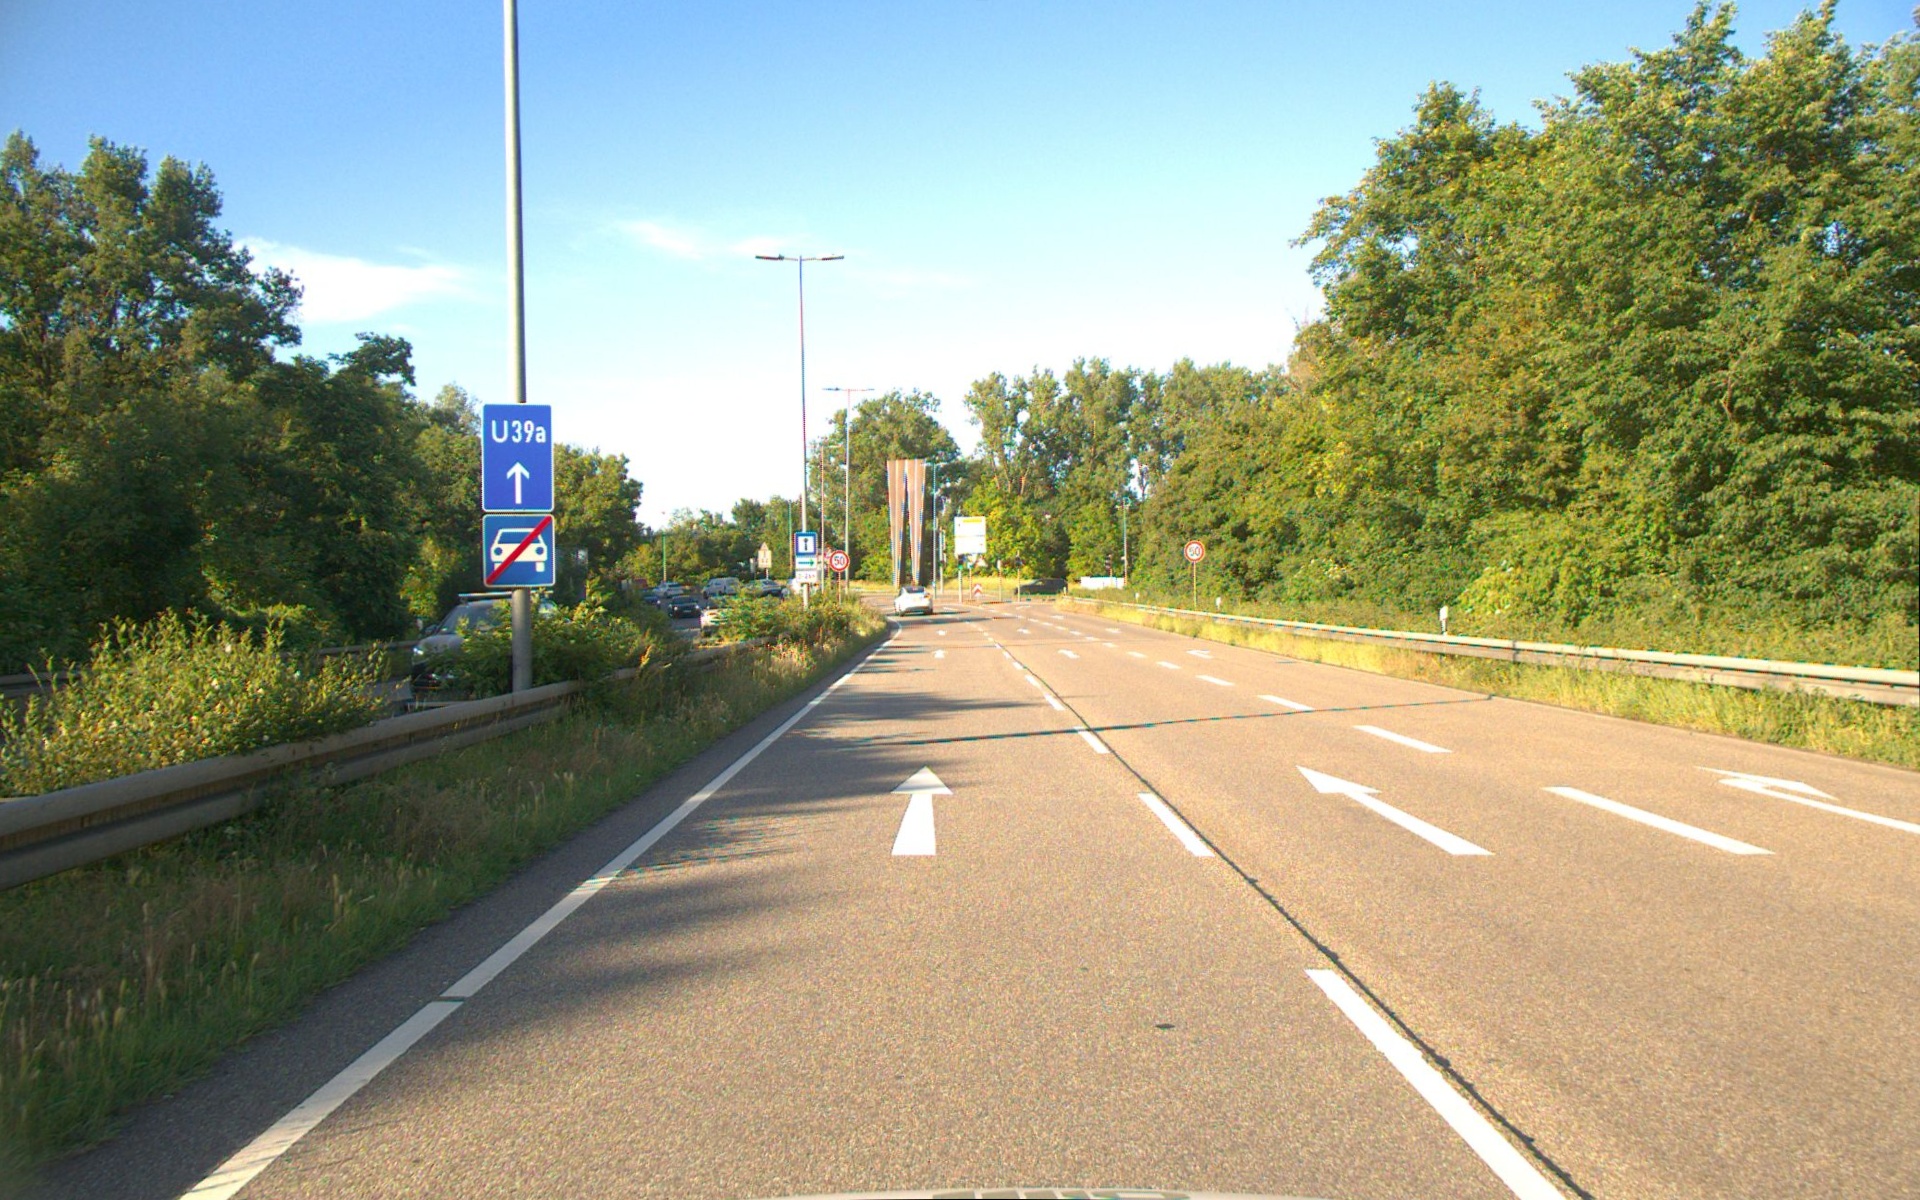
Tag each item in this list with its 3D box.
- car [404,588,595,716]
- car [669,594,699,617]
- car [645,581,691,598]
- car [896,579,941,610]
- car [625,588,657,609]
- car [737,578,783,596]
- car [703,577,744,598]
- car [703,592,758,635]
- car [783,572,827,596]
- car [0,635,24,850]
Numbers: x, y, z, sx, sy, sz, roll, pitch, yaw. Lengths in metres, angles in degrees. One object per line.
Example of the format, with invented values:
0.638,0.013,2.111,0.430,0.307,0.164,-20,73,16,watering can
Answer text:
-7.088,0.731,25.908,1.796,1.803,4.337,-1,0,-1,car
-18.391,0.363,110.221,1.771,1.441,4.524,-3,1,-8,car
-27.365,-0.997,154.851,3.928,1.534,2.260,-1,0,42,car
-2.407,-0.315,94.592,1.957,1.668,4.119,-2,1,-9,car
-24.987,-0.107,129.446,1.857,1.444,4.342,-4,1,-18,car
-17.907,-1.155,148.056,4.085,1.500,1.962,0,2,45,car
-20.877,-1.123,146.063,1.954,1.728,3.949,-2,2,-36,car
-9.284,0.512,67.130,1.734,1.597,4.217,-2,0,-2,car
-12.495,-1.283,132.965,1.972,1.912,4.207,-2,1,-29,car
-7.048,0.955,8.697,1.737,1.380,4.461,-1,0,-1,car
